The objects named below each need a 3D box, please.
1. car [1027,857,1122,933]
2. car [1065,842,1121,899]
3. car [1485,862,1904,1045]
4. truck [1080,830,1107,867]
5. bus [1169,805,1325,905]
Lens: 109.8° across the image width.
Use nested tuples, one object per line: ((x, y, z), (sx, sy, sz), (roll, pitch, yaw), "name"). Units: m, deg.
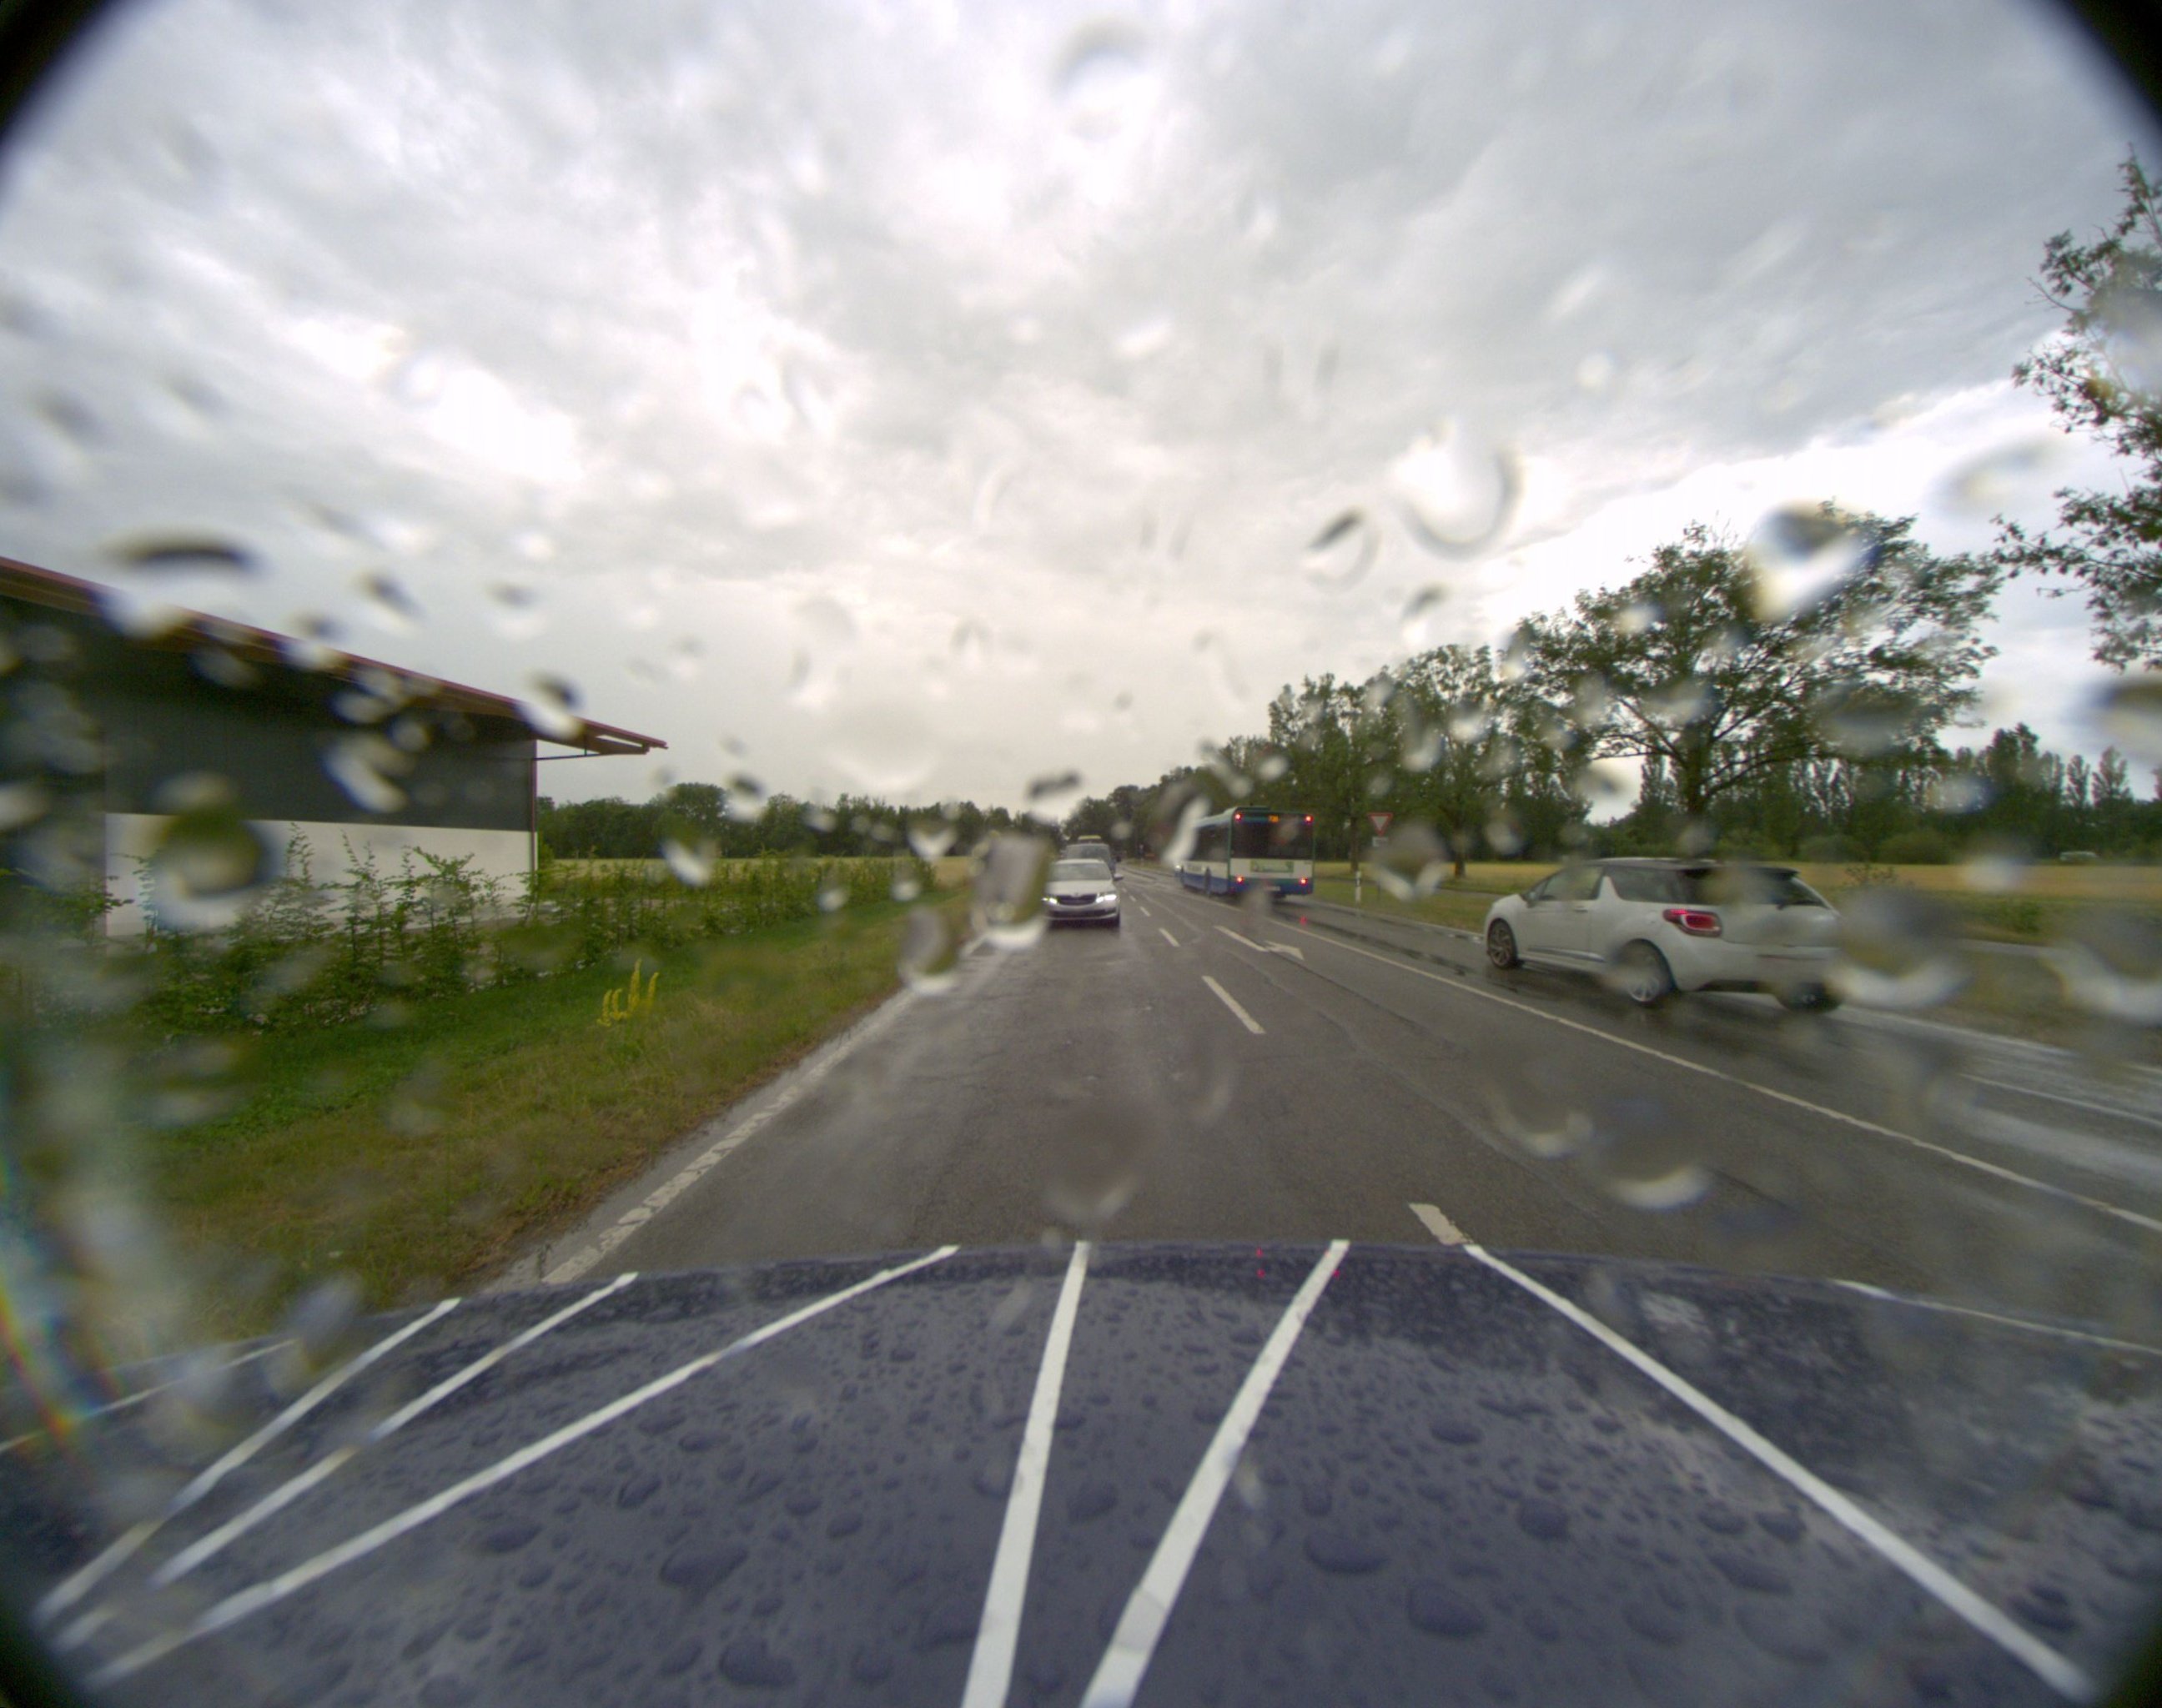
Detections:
((-0.099, 0.841, 17.481), (1.843, 1.379, 4.569), (-2, 1, 1), "car")
((0.423, 0.542, 27.686), (1.892, 1.939, 4.000), (0, 1, 1), "car")
((6.094, 0.862, 8.141), (1.672, 1.442, 3.461), (1, 0, 1), "car")
((1.415, -0.628, 87.184), (2.931, 3.828, 14.119), (0, 0, 1), "truck")
((5.536, -0.037, 28.274), (2.958, 2.895, 12.473), (0, 1, 0), "bus")
